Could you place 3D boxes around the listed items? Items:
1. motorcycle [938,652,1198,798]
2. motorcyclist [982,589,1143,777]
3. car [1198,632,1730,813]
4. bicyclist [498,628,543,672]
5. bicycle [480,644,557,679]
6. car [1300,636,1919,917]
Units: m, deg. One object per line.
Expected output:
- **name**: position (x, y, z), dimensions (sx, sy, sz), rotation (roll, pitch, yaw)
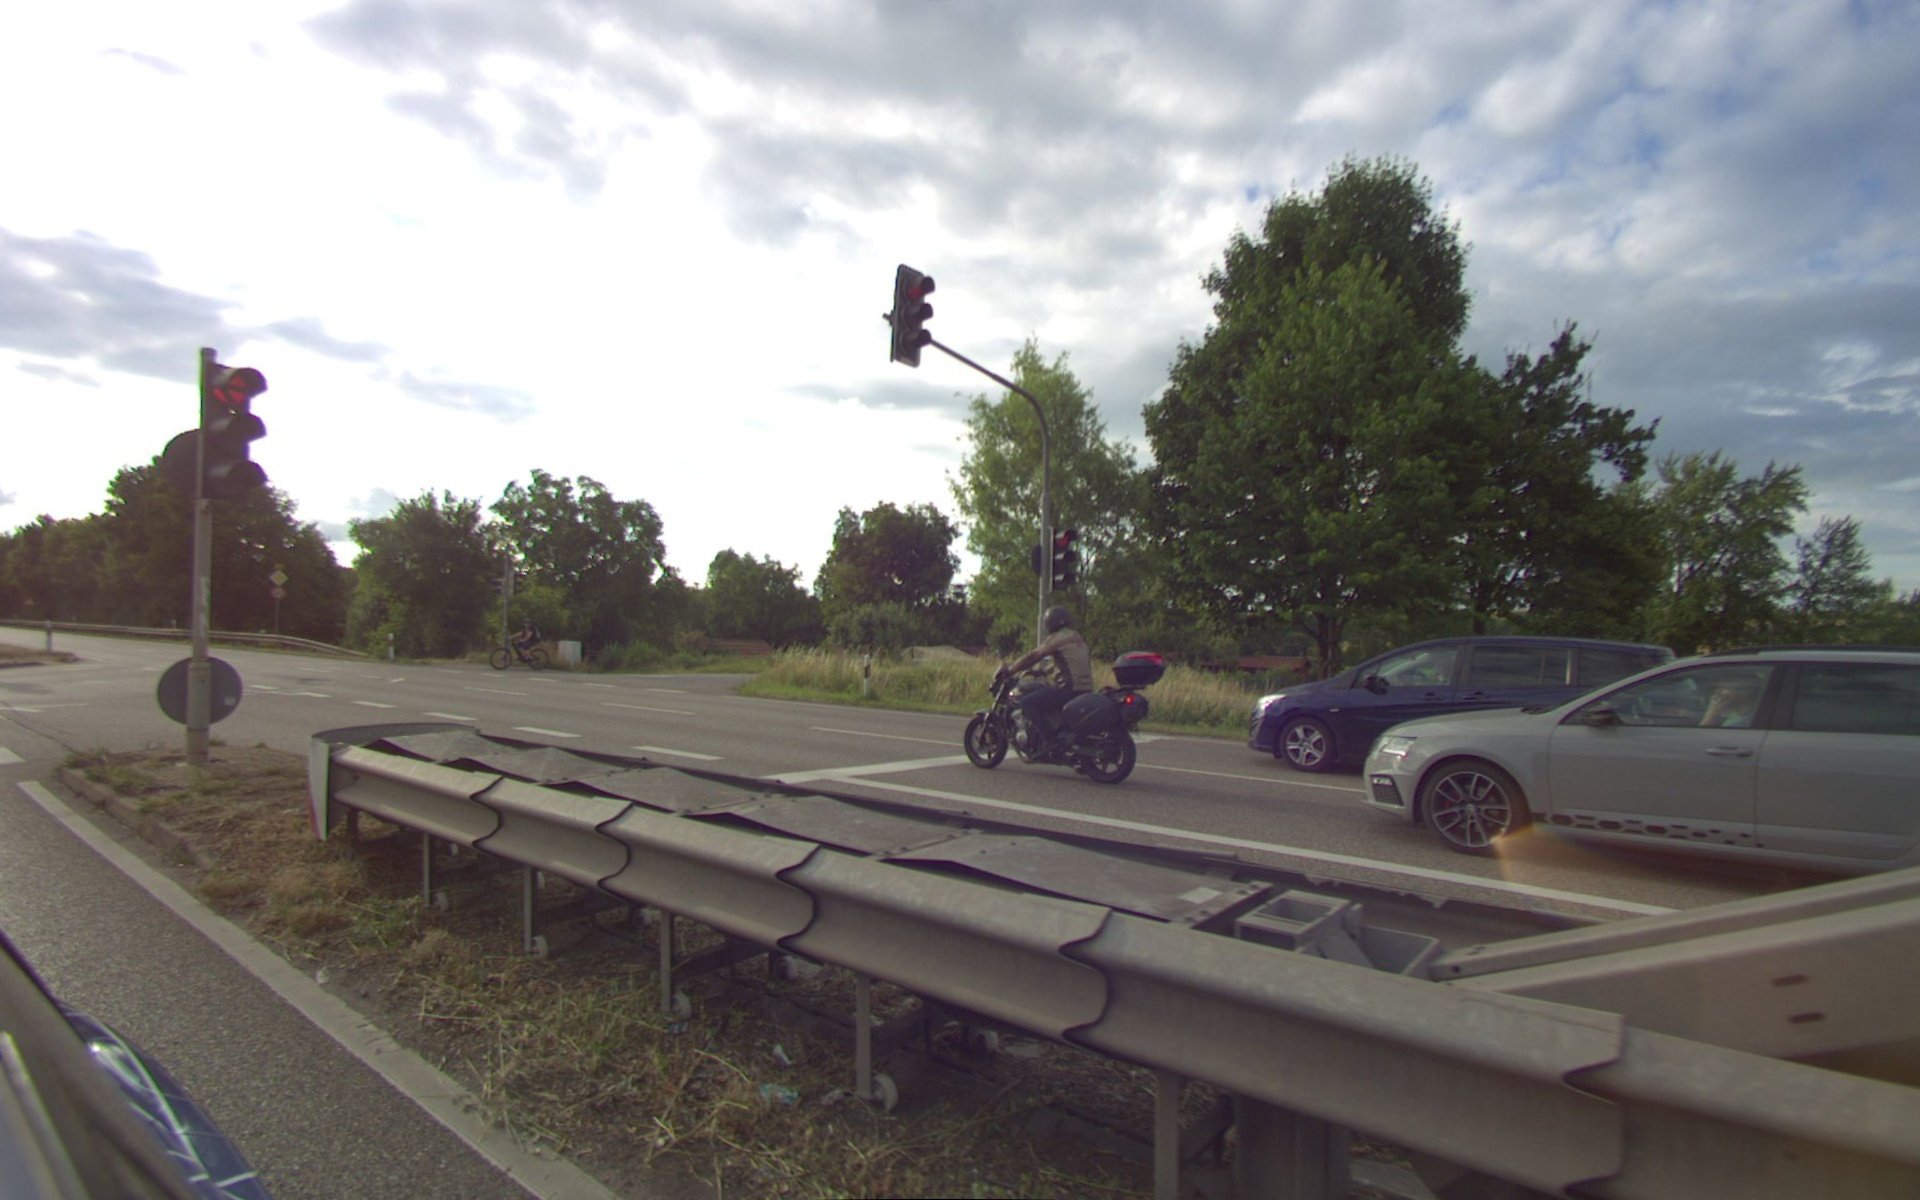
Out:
- **motorcycle**: position (1.018, 1.166, 10.067), dimensions (2.477, 1.212, 0.907), rotation (-1, -3, 41)
- **motorcyclist**: position (1.019, 0.788, 10.078), dimensions (1.275, 1.722, 0.907), rotation (-1, -3, 41)
- **car**: position (5.305, 1.151, 11.122), dimensions (4.935, 1.547, 1.888), rotation (-1, -3, 40)
- **bicyclist**: position (-15.121, 1.717, 34.819), dimensions (1.208, 1.463, 0.816), rotation (3, -6, -44)
- **bicycle**: position (-15.145, 2.118, 34.777), dimensions (2.292, 1.146, 0.816), rotation (3, -6, -44)
- **car**: position (5.064, 0.983, 6.506), dimensions (5.148, 1.439, 1.888), rotation (-1, -3, 40)
